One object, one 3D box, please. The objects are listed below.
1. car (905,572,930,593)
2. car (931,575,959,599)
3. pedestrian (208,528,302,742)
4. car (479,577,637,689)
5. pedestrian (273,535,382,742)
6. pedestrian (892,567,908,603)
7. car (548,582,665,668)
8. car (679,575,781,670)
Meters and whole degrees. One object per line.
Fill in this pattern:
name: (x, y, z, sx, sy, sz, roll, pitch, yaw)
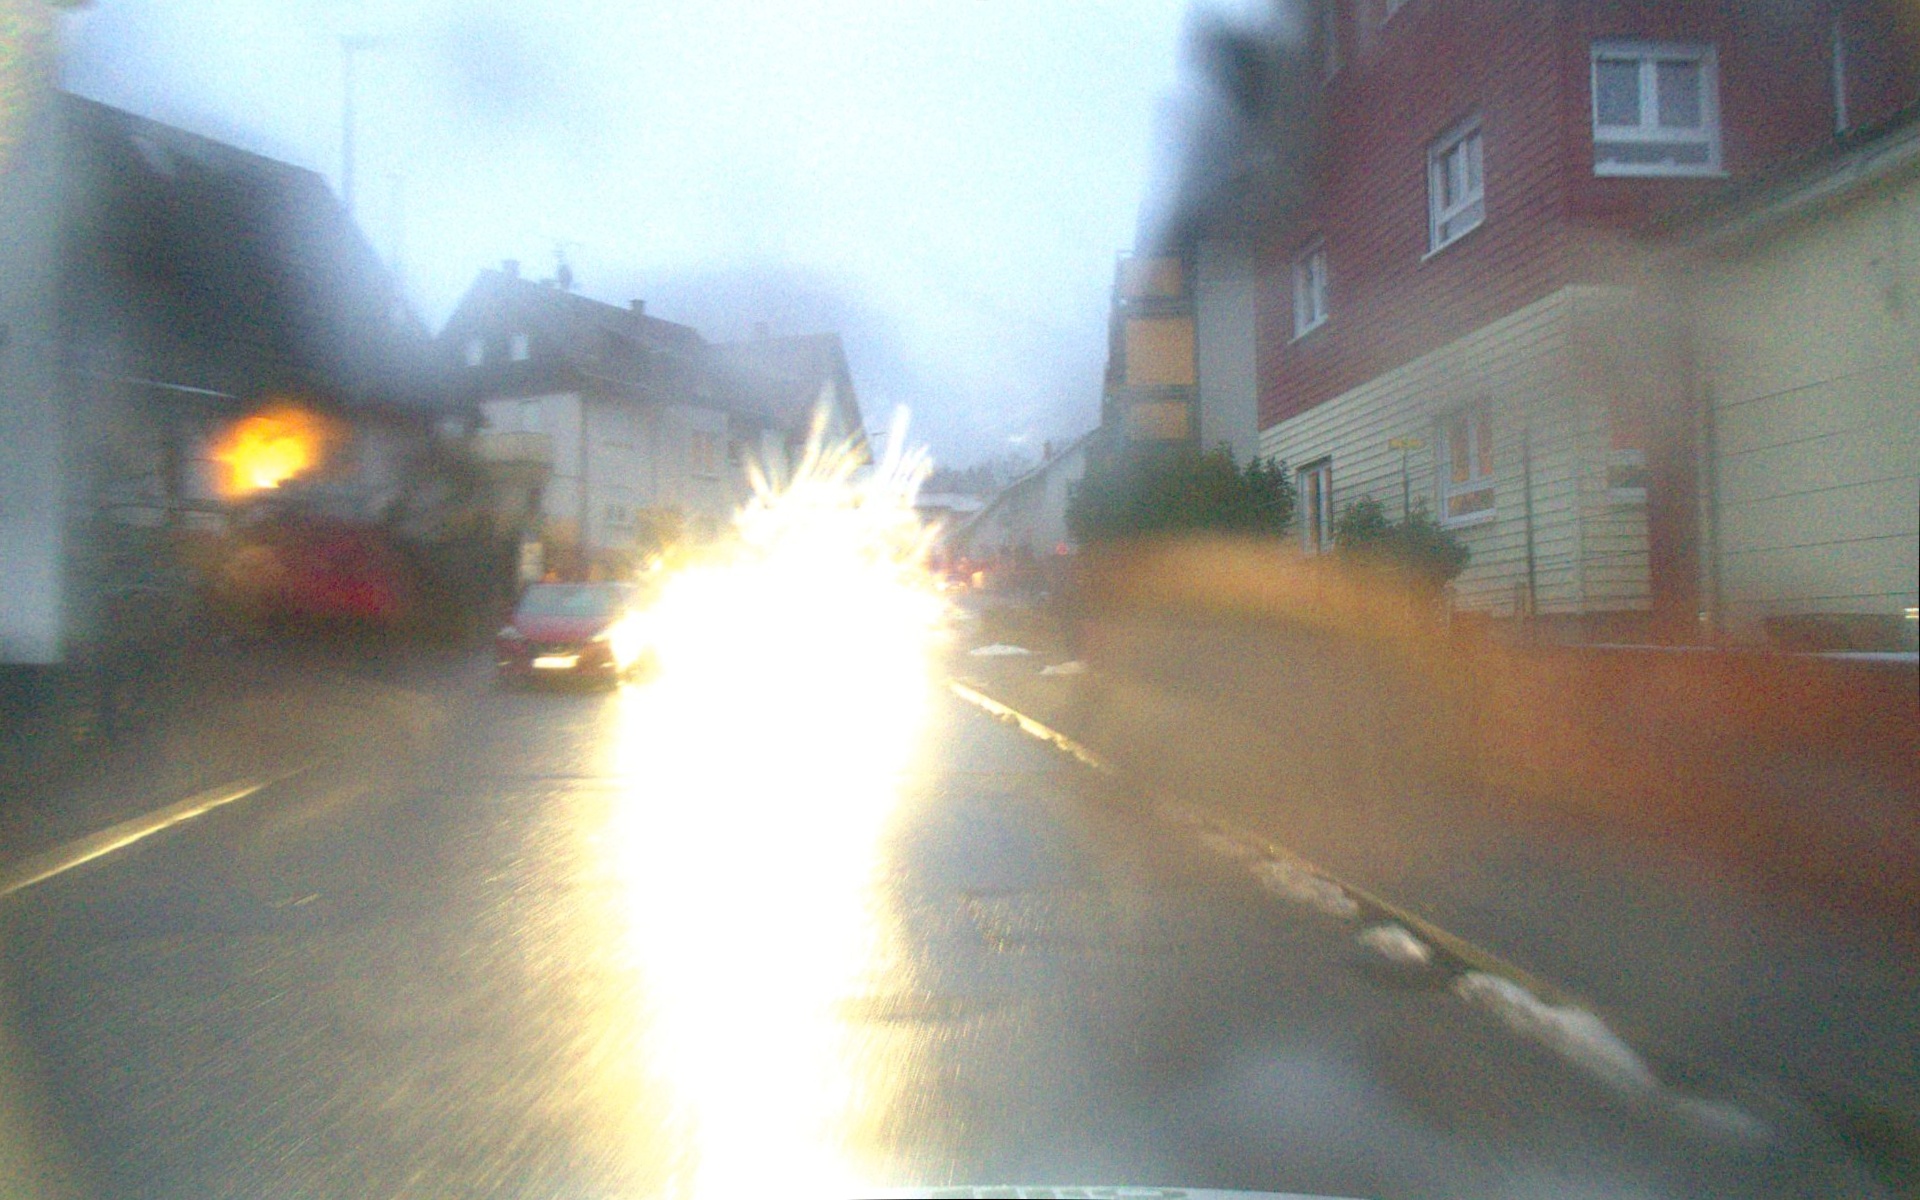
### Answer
car: (-3.601, -1.491, 140.004, 1.954, 1.646, 3.997, 1, -1, -4)
car: (-1.132, -0.966, 123.194, 1.953, 1.646, 3.999, 1, -1, -1)
pedestrian: (-6.444, 0.316, 15.157, 0.587, 1.902, 0.810, 0, -1, -8)
car: (-5.708, 0.409, 23.914, 1.789, 1.466, 4.061, 0, 1, -8)
pedestrian: (-5.716, 0.341, 14.990, 0.693, 1.810, 0.811, 2, -1, -7)
pedestrian: (-2.958, -0.725, 81.317, 0.585, 1.763, 0.813, 0, -1, 12)
car: (-6.257, 0.399, 29.655, 1.716, 1.413, 4.139, 0, 1, -8)
car: (-4.188, 0.398, 30.188, 1.725, 1.608, 3.993, 0, 0, -8)
